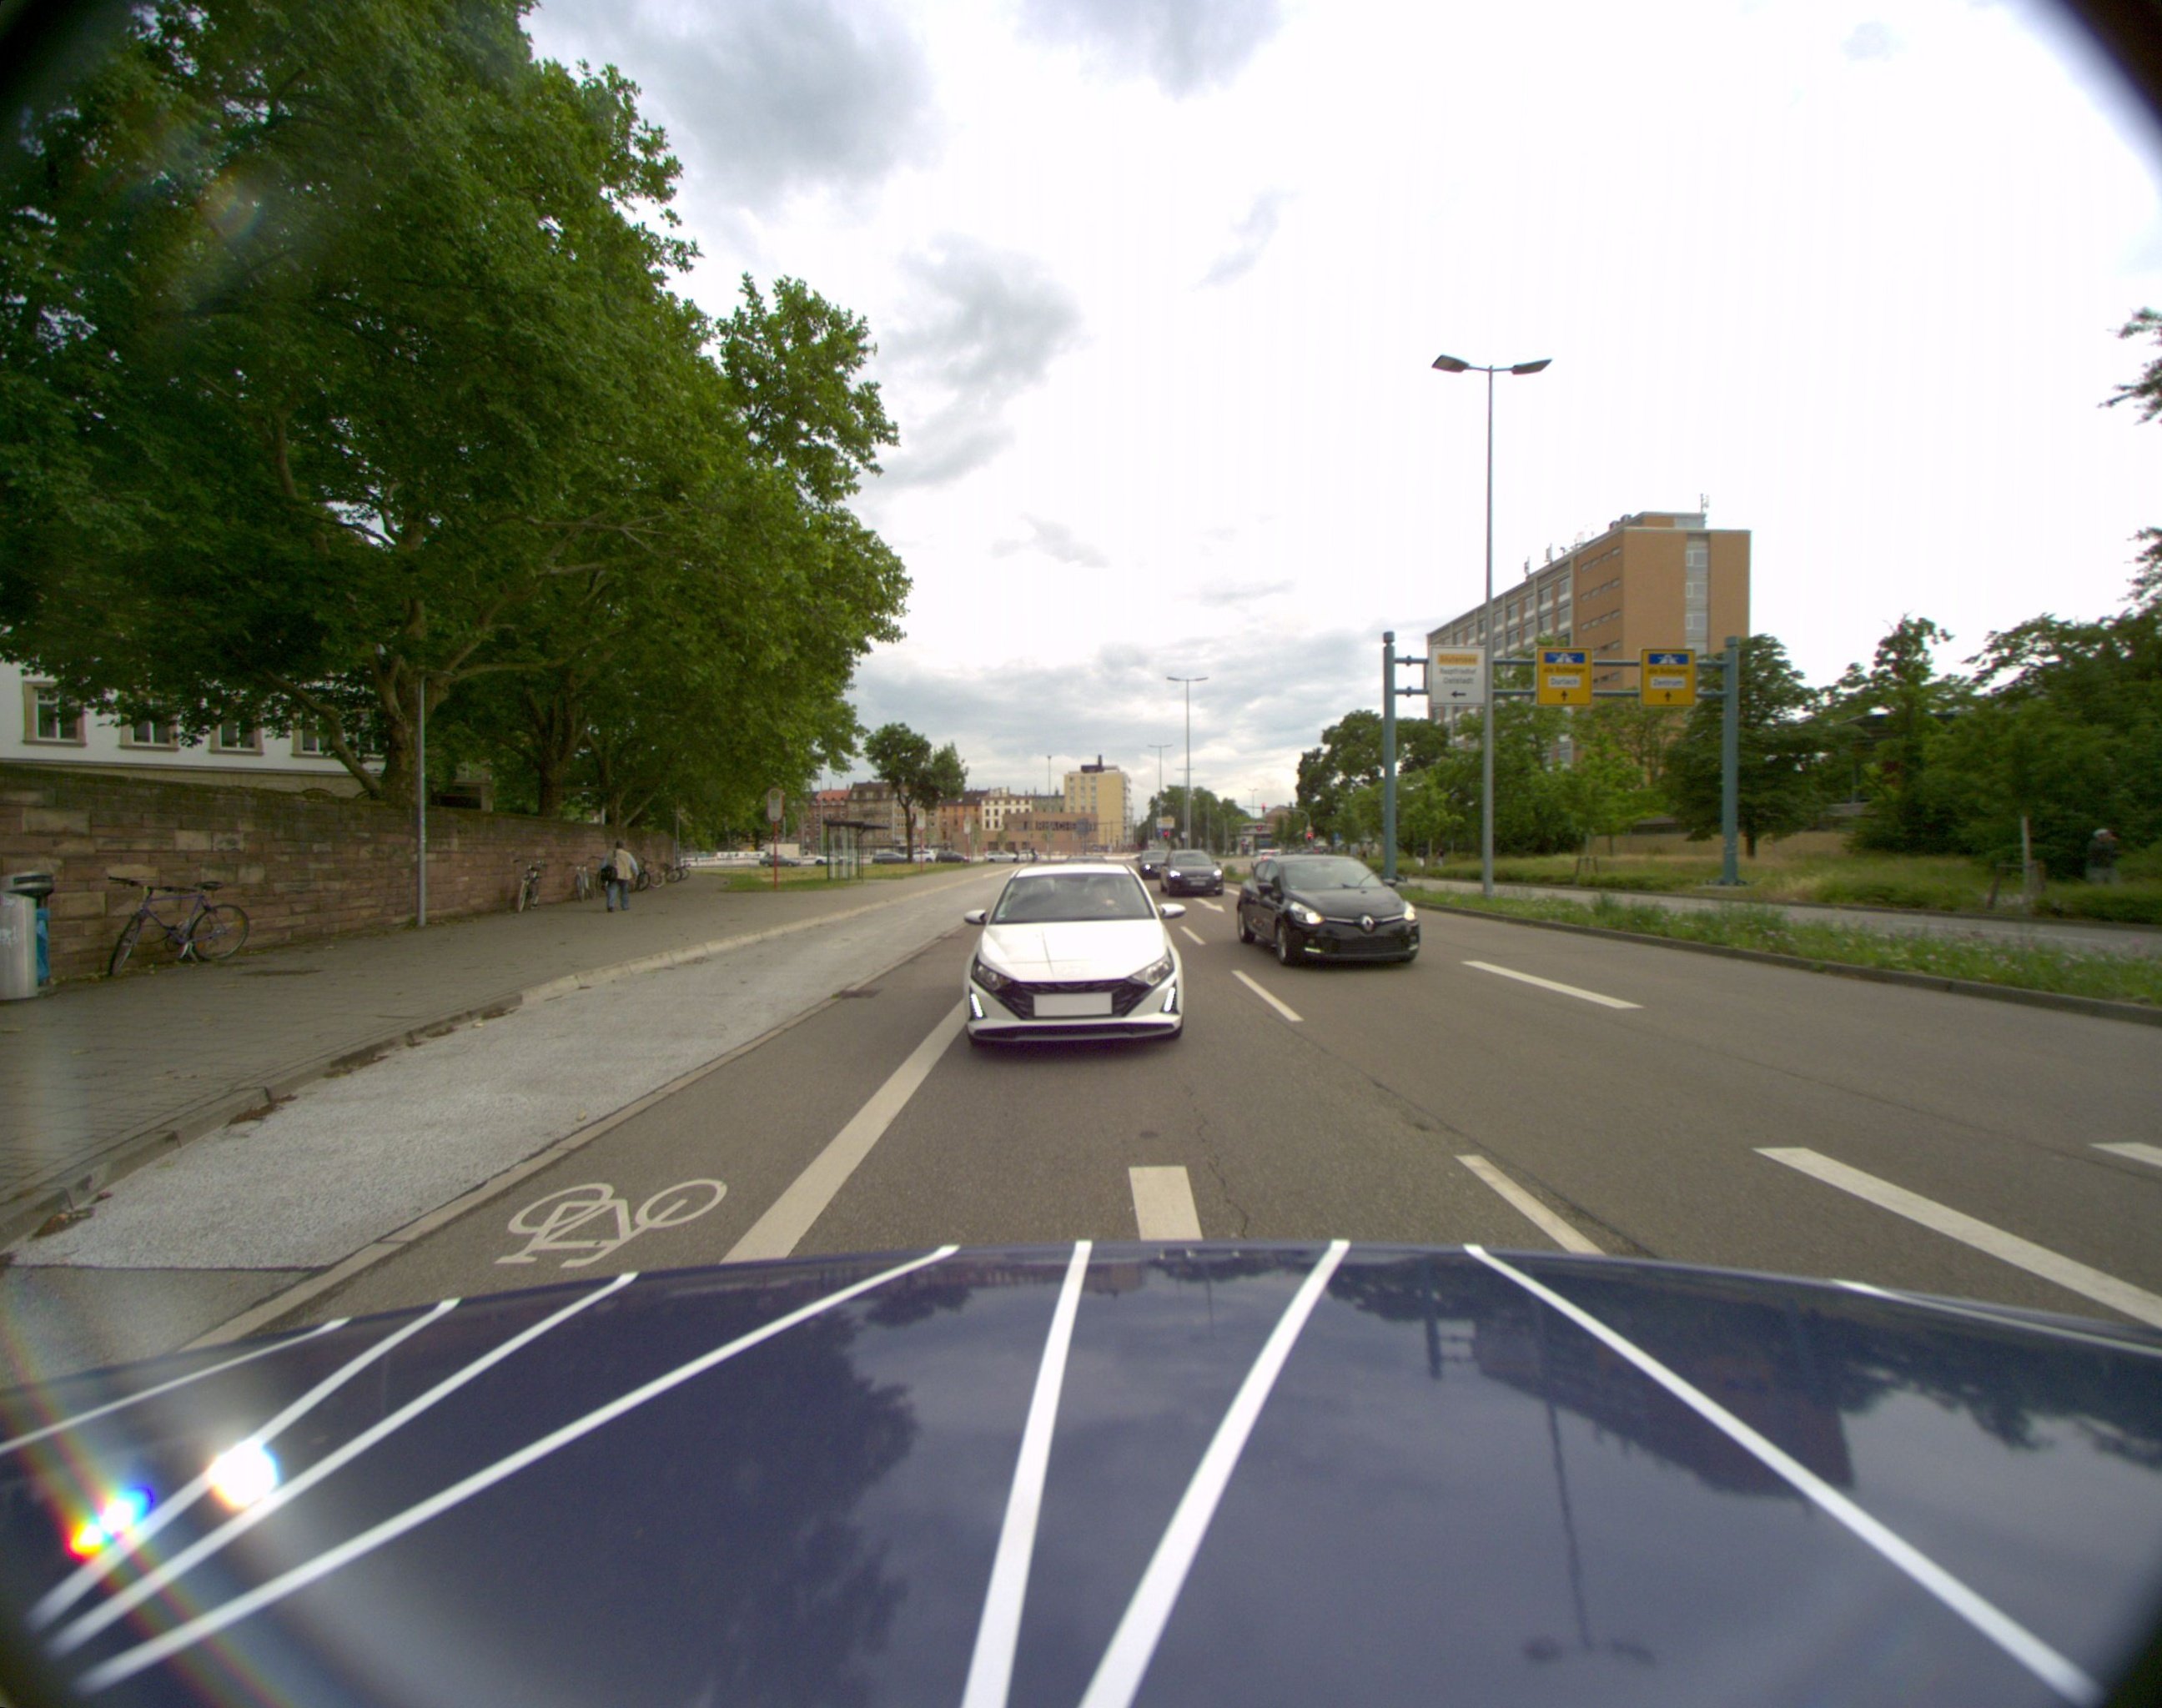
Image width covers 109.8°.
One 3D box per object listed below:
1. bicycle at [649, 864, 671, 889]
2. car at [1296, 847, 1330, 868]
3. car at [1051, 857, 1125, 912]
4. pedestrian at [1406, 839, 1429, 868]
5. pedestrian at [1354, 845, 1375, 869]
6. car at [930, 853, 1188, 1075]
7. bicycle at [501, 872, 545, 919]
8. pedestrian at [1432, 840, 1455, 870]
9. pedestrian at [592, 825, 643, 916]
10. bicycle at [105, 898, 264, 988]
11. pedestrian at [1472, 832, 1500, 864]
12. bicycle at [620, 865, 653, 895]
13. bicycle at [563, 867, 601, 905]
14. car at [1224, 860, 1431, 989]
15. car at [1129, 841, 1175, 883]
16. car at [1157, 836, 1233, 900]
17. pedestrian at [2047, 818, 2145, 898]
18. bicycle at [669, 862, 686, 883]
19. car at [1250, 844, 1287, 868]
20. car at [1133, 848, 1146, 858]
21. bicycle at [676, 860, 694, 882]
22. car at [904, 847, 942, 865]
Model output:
[{"bbox_3d":[-16.989,0.899,30.707,0.569,0.934,1.764,-1,1,-22],"label":"bicycle"},{"bbox_3d":[18.064,0.228,59.315,1.854,1.543,4.002,-1,1,7],"label":"car"},{"bbox_3d":[0.210,0.845,22.632,1.998,1.422,4.000,0,1,1],"label":"car"},{"bbox_3d":[23.709,-0.060,53.546,0.882,2.002,1.220,-2,1,-7],"label":"pedestrian"},{"bbox_3d":[24.494,0.230,65.669,1.223,2.002,1.520,-2,1,0],"label":"pedestrian"},{"bbox_3d":[-0.127,0.776,7.359,1.813,1.533,4.000,0,1,1],"label":"car"},{"bbox_3d":[-12.421,0.902,16.939,0.365,0.934,1.638,-1,1,-21],"label":"bicycle"},{"bbox_3d":[24.992,0.044,52.428,0.882,2.002,1.220,-2,1,-7],"label":"pedestrian"},{"bbox_3d":[-10.450,0.366,17.162,0.784,2.002,0.888,0,1,-17],"label":"pedestrian"},{"bbox_3d":[-10.623,1.015,9.076,0.291,0.880,1.609,0,1,-12],"label":"bicycle"},{"bbox_3d":[25.467,-0.383,47.847,1.137,1.908,1.162,-2,1,4],"label":"pedestrian"},{"bbox_3d":[-15.073,0.857,25.819,0.655,0.934,1.953,-1,1,-22],"label":"bicycle"},{"bbox_3d":[-13.612,0.863,20.774,0.482,0.934,1.895,-1,1,-22],"label":"bicycle"},{"bbox_3d":[3.276,0.851,10.948,1.732,1.450,4.000,0,1,1],"label":"car"},{"bbox_3d":[3.548,0.355,38.729,1.998,2.002,4.000,0,1,1],"label":"car"},{"bbox_3d":[3.753,0.413,25.632,1.998,2.002,4.000,0,1,1],"label":"car"},{"bbox_3d":[21.405,0.072,16.040,0.990,1.616,0.813,-2,1,-2],"label":"pedestrian"},{"bbox_3d":[-18.980,0.857,35.763,0.561,0.934,1.351,-1,1,-22],"label":"bicycle"},{"bbox_3d":[14.848,0.098,60.269,1.893,1.763,3.999,-2,1,-1],"label":"car"},{"bbox_3d":[8.233,-0.171,106.917,1.606,1.360,3.578,0,1,-1],"label":"car"},{"bbox_3d":[-20.591,0.862,39.530,0.693,1.078,1.650,-1,1,-22],"label":"bicycle"},{"bbox_3d":[-19.298,0.280,92.892,4.284,2.002,1.999,-2,1,-6],"label":"car"}]
